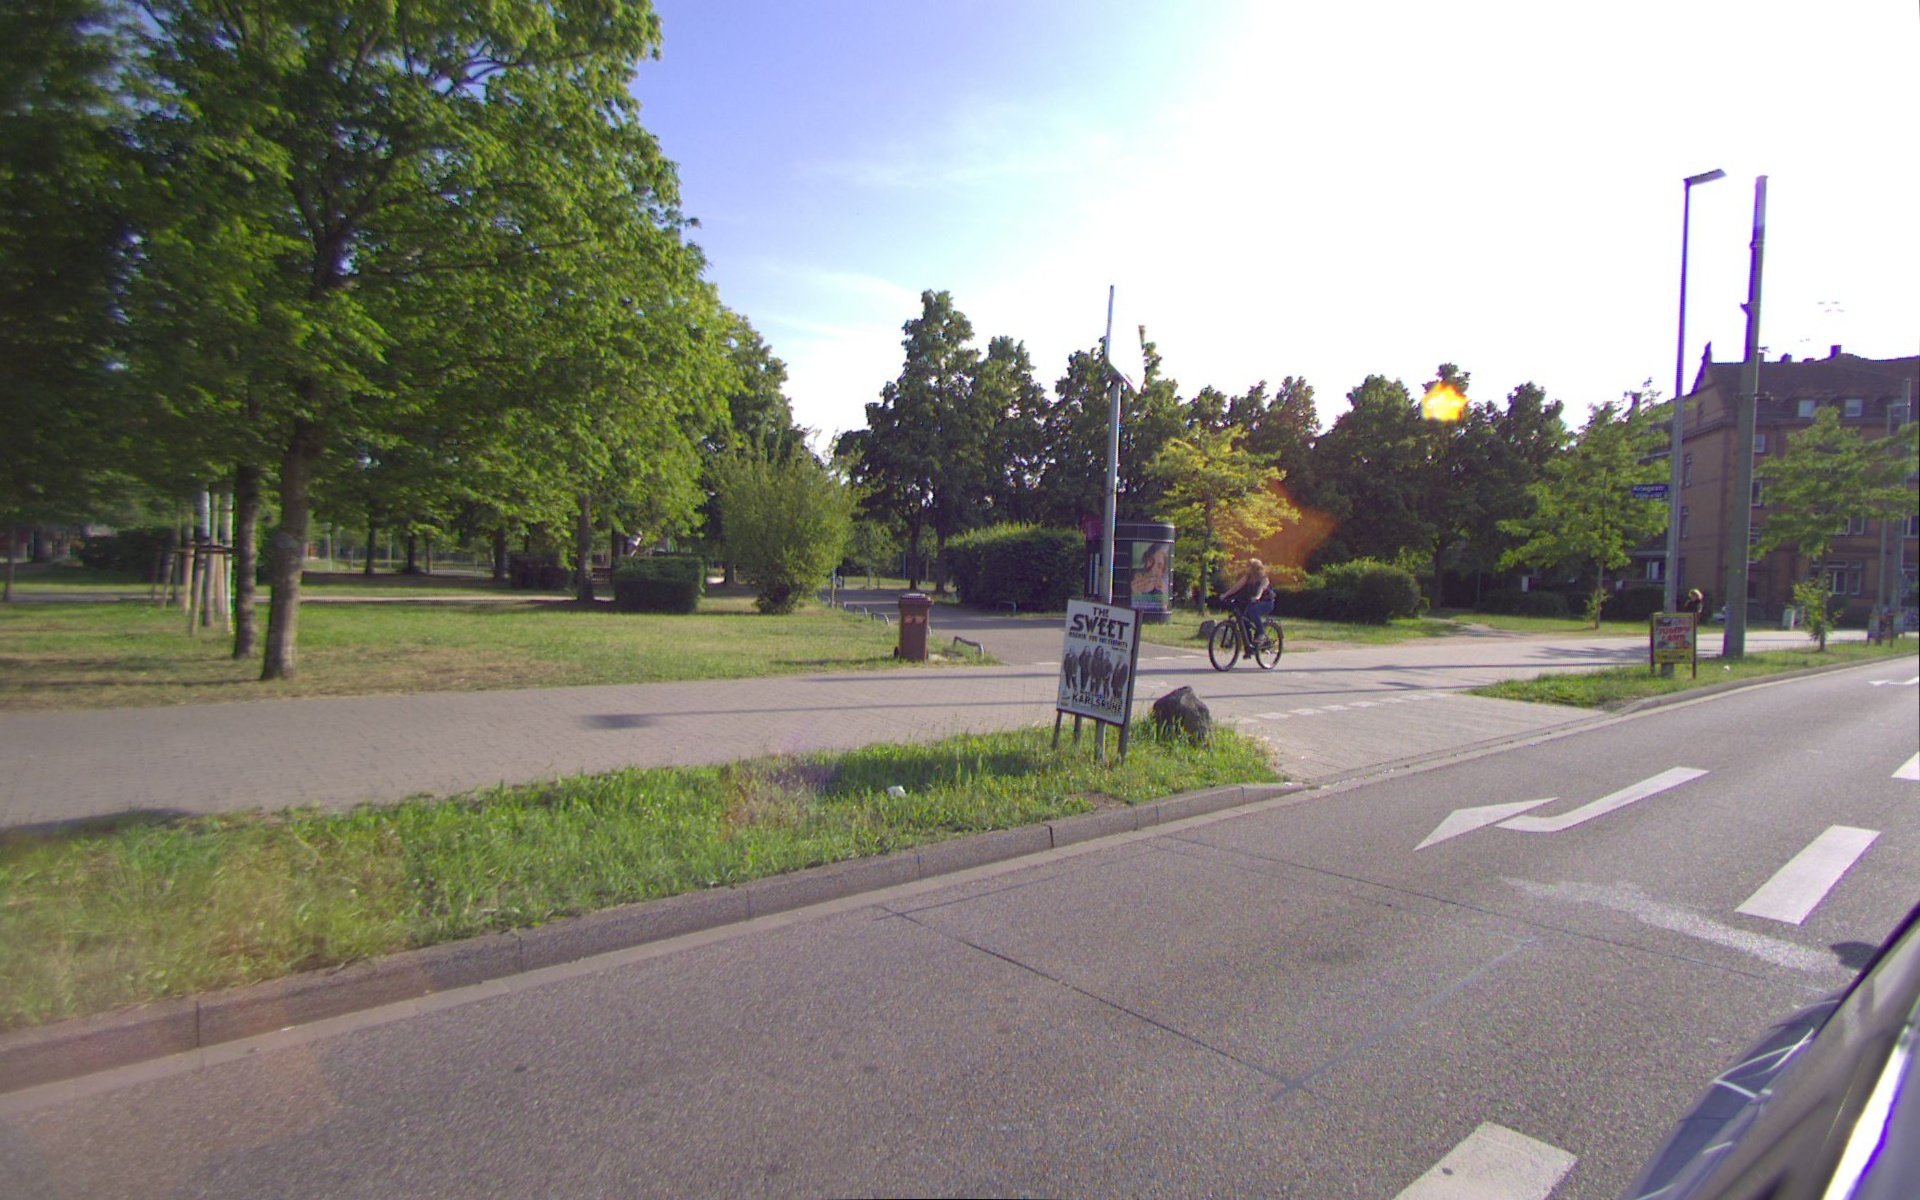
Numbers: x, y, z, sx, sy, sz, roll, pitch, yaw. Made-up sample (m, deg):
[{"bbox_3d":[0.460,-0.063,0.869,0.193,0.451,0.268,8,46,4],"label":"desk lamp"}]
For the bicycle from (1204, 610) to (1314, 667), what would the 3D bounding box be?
[{"bbox_3d":[4.547,0.561,15.290,2.131,0.766,0.496,0,3,-41],"label":"bicycle"}]

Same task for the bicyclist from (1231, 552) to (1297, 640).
[{"bbox_3d":[4.600,-0.071,15.309,0.854,1.278,0.535,1,2,-41],"label":"bicyclist"}]

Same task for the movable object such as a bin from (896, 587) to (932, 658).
[{"bbox_3d":[-0.631,0.305,14.037,0.447,0.929,0.605,2,2,1],"label":"movable object such as a bin"}]

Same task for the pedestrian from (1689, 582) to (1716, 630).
[{"bbox_3d":[26.371,0.213,35.940,0.607,1.706,0.621,1,0,-41],"label":"pedestrian"}]
